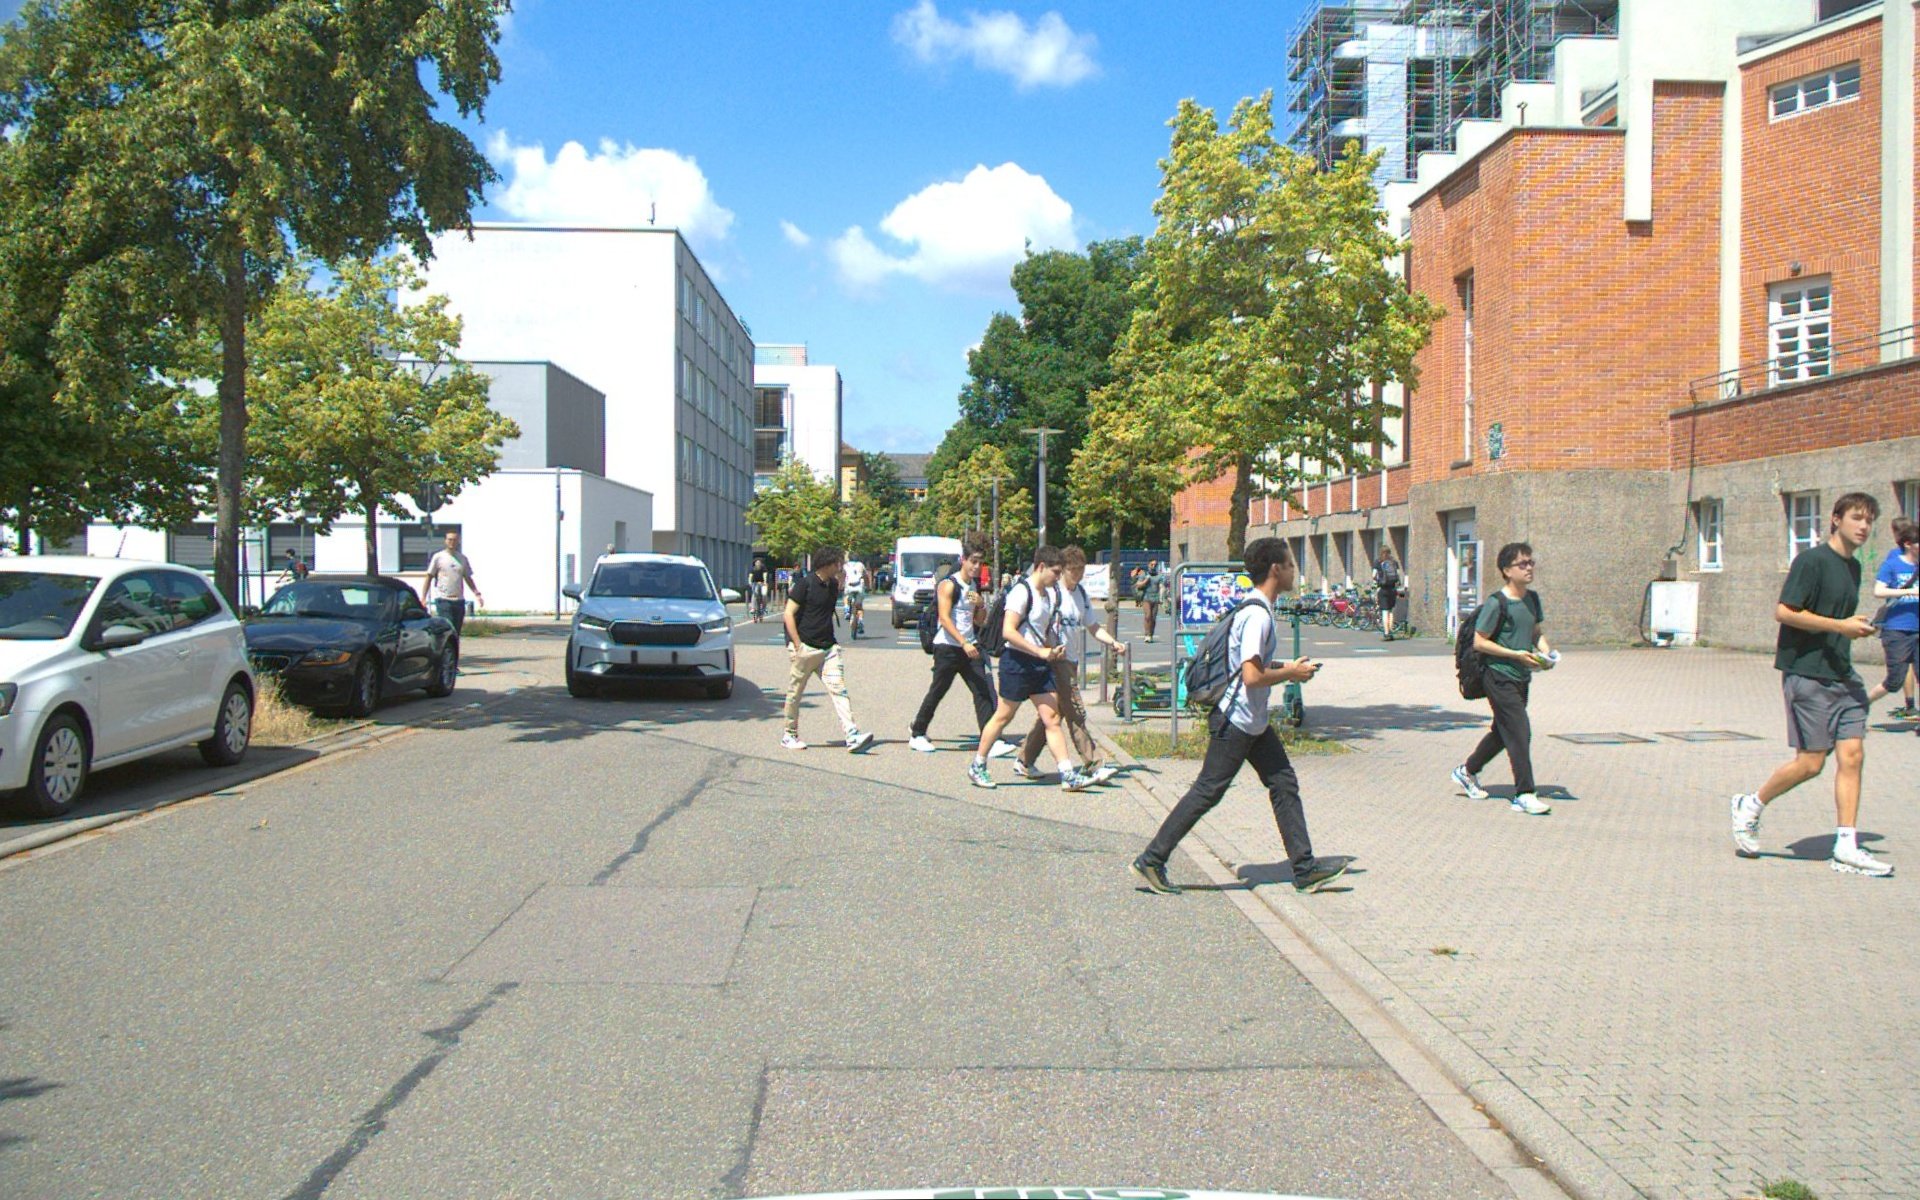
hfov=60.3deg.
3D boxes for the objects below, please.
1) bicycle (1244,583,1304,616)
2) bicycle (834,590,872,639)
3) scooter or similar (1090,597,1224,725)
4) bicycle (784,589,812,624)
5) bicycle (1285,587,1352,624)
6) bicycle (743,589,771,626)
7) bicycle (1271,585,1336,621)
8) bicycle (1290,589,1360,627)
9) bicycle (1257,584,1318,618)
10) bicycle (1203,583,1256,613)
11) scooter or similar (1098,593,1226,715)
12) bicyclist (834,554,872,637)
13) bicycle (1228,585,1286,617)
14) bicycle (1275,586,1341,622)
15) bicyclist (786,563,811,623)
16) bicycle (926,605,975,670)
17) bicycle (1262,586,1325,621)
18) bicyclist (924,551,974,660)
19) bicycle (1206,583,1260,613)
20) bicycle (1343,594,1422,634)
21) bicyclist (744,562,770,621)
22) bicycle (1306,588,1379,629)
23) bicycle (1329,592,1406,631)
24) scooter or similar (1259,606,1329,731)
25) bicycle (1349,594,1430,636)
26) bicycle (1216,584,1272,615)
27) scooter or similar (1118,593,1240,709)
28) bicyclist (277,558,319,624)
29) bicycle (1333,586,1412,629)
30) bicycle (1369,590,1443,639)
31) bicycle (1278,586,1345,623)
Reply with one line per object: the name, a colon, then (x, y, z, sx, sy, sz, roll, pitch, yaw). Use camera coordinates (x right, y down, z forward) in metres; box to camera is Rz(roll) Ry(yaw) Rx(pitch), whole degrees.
bicycle: (10.031, -0.025, 52.868, 1.773, 1.002, 0.560, -2, 1, -3)
bicycle: (-2.352, 0.307, 36.667, 0.792, 1.019, 2.123, 0, 1, -3)
scooter or similar: (2.063, 0.615, 17.308, 1.237, 1.287, 0.649, 0, 1, 30)
bicycle: (-4.716, 0.199, 48.242, 0.663, 0.982, 2.002, 2, -1, -2)
bicycle: (10.255, 0.153, 47.299, 1.773, 1.002, 0.560, -2, 1, -3)
bicycle: (-5.701, 0.206, 46.498, 0.663, 0.981, 2.002, 1, 1, -4)
bicycle: (10.195, 0.094, 49.128, 1.773, 1.002, 0.560, -2, 1, -3)
bicycle: (9.957, 0.215, 45.097, 1.773, 1.002, 0.560, -2, 1, -3)
bicycle: (10.229, 0.037, 51.676, 1.773, 1.002, 0.560, -2, 1, -3)
bicycle: (9.614, -0.083, 59.028, 1.773, 1.002, 0.560, -2, 1, -3)
scooter or similar: (2.208, 0.567, 18.086, 1.237, 1.287, 0.649, 0, 1, 30)
bicyclist: (-2.367, -0.105, 36.606, 0.755, 1.787, 0.848, -2, 0, -2)
bicycle: (9.729, 0.020, 54.197, 1.773, 1.002, 0.560, -2, 1, -3)
bicycle: (10.200, 0.114, 48.487, 1.773, 1.002, 0.560, -2, 1, -3)
bicyclist: (-4.694, -0.198, 48.211, 0.654, 1.711, 0.992, -1, 0, -3)
bicycle: (-0.141, 0.597, 26.468, 0.692, 1.010, 1.911, 0, -1, 2)
bicycle: (10.141, 0.094, 50.319, 1.773, 1.002, 0.560, -2, 1, -3)
bicyclist: (-0.164, 0.083, 26.424, 0.702, 1.691, 1.095, -2, 0, 2)
bicycle: (9.573, -0.059, 58.063, 1.773, 1.002, 0.560, -2, 1, -3)
bicycle: (10.207, 0.333, 39.977, 1.773, 0.928, 0.560, -1, 1, -3)
bicyclist: (-5.710, -0.240, 46.585, 0.630, 1.629, 0.908, -1, 1, -4)
bicycle: (9.984, 0.226, 43.196, 1.773, 1.002, 0.560, -2, 1, -3)
bicycle: (10.199, 0.285, 41.382, 1.773, 0.928, 0.560, -2, 1, -3)
scooter or similar: (3.355, 0.660, 16.572, 0.635, 1.180, 1.266, 0, 1, 13)
bicycle: (10.156, 0.347, 39.119, 1.773, 0.928, 0.560, -1, 1, -3)
bicycle: (9.577, -0.016, 55.726, 1.773, 1.002, 0.560, -2, 1, -3)
scooter or similar: (2.503, 0.562, 18.909, 1.237, 1.287, 0.638, 0, 1, 30)
bicyclist: (-18.145, -0.244, 45.368, 0.678, 1.787, 0.809, 1, 0, 32)
bicycle: (10.120, 0.183, 40.620, 1.773, 1.002, 0.560, -2, 1, -3)
bicycle: (10.026, 0.324, 37.180, 1.504, 1.051, 0.560, -1, 1, -3)
bicycle: (10.175, 0.130, 47.898, 1.773, 1.002, 0.560, -2, 1, -3)
